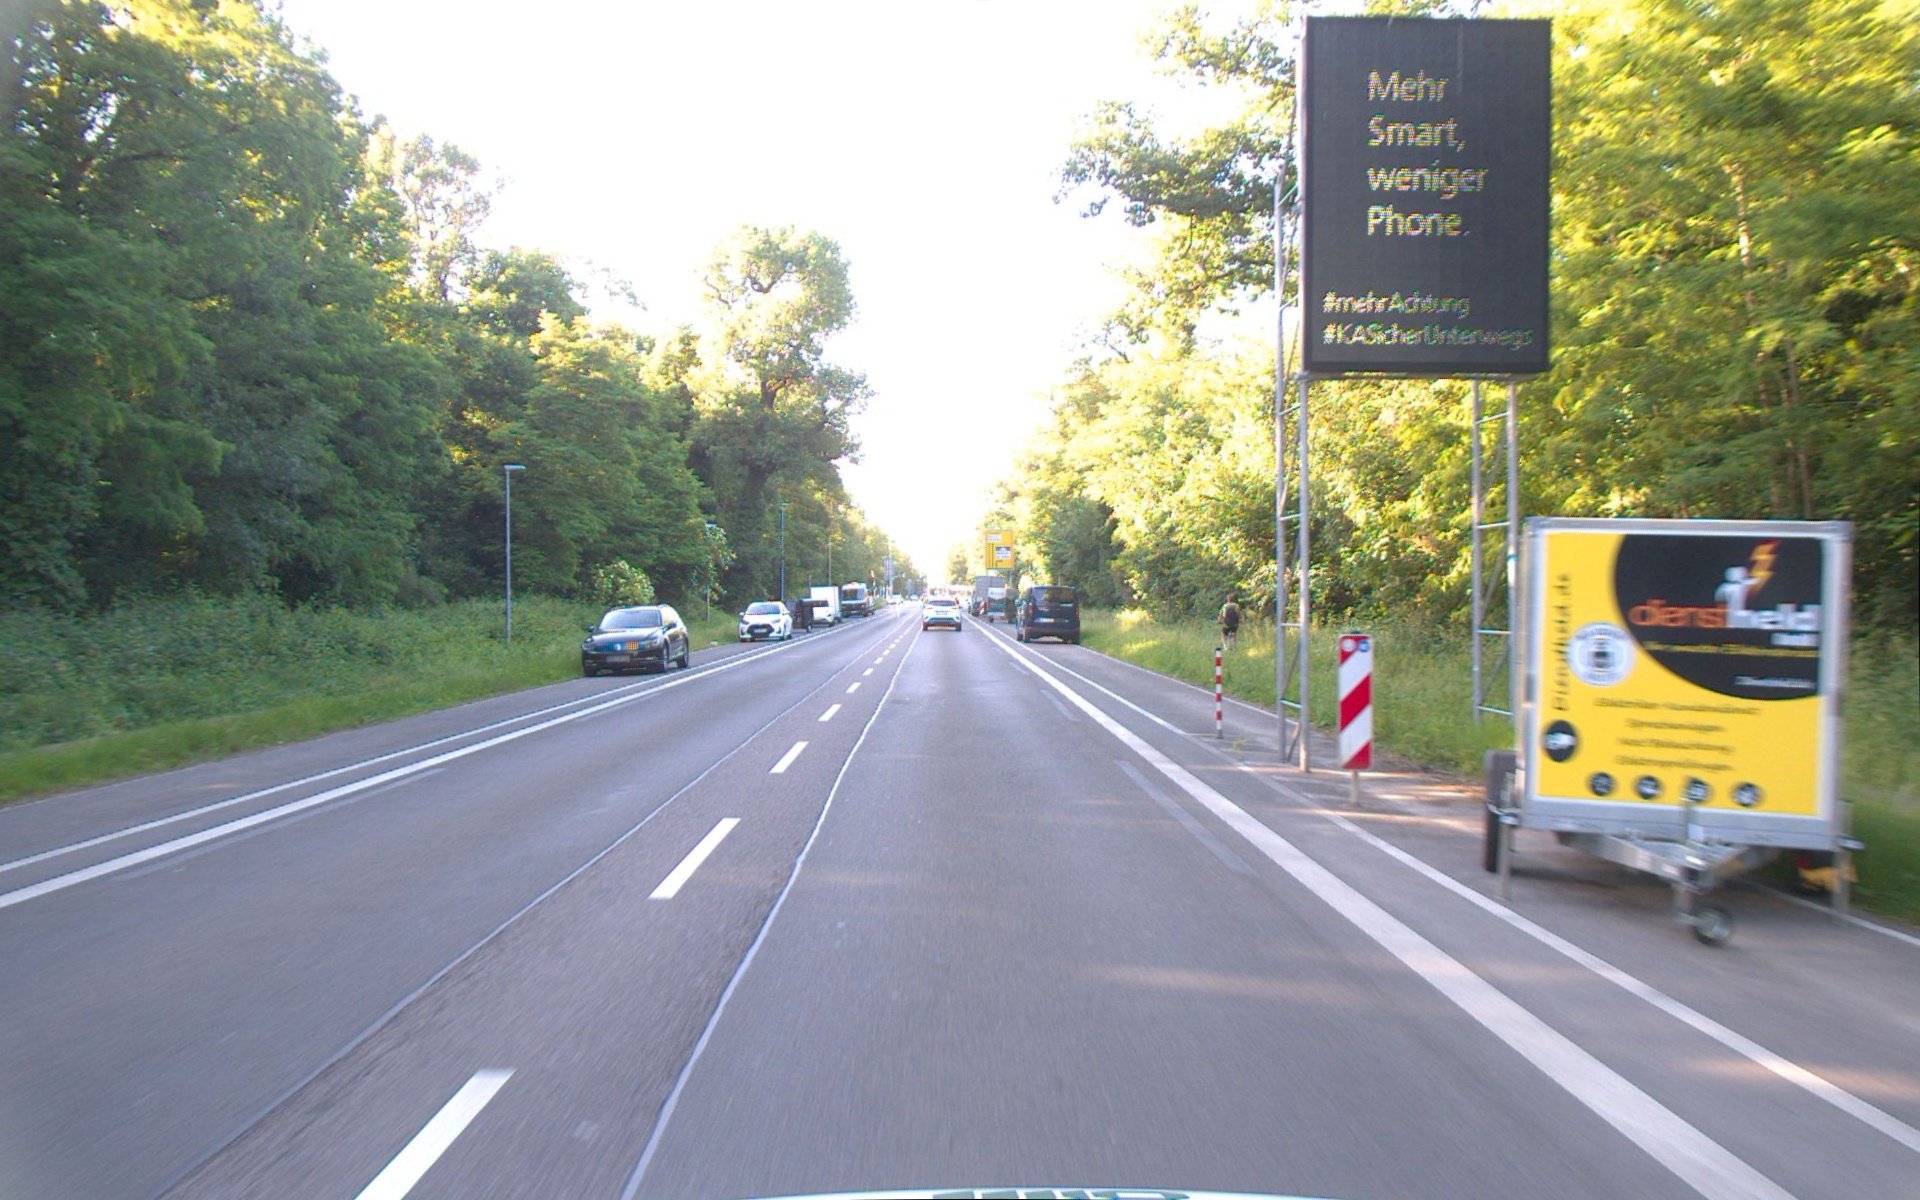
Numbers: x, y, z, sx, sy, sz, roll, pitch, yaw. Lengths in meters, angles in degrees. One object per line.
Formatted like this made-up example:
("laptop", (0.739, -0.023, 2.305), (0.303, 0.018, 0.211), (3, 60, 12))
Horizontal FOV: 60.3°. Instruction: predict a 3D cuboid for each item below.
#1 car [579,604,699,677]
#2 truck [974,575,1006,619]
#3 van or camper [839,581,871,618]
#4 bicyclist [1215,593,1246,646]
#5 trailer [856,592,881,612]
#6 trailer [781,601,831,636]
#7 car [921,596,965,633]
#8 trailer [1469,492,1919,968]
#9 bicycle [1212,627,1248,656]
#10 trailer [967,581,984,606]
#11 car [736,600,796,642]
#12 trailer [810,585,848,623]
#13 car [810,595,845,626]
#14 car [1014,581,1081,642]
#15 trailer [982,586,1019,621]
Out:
("car", (-7.139, 0.852, 37.219), (1.817, 1.490, 4.783), (0, 0, -1))
("truck", (2.400, -0.254, 133.657), (2.454, 3.425, 7.106), (1, 0, 0))
("van or camper", (-8.637, -0.039, 136.471), (2.255, 2.816, 5.556), (-3, 0, -1))
("bicyclist", (7.018, 0.505, 42.968), (0.598, 1.348, 1.175), (0, 0, -1))
("trailer", (-8.256, 0.201, 149.651), (1.439, 1.688, 3.368), (-2, -1, 12))
("trailer", (-7.255, 0.845, 77.984), (1.366, 1.601, 2.675), (0, 0, 19))
("car", (-0.792, 0.639, 76.885), (1.953, 1.668, 3.999), (-1, 0, -1))
("trailer", (3.912, 0.549, 9.266), (1.921, 2.058, 3.845), (0, 0, 19))
("bicycle", (7.012, 1.078, 43.033), (0.579, 0.704, 1.996), (0, 0, -1))
("trailer", (1.470, -0.613, 156.983), (1.469, 2.274, 4.549), (1, 0, 0))
("car", (-7.511, 0.796, 64.306), (1.829, 1.476, 4.070), (-3, 0, -1))
("trailer", (-8.334, 0.222, 105.637), (2.032, 2.333, 3.487), (-1, 0, 1))
("car", (-7.374, 0.547, 92.258), (1.778, 1.599, 4.204), (-3, 0, -3))
("car", (3.108, 0.396, 59.521), (2.070, 2.049, 5.039), (2, 0, 0))
("trailer", (2.548, 0.220, 103.694), (1.580, 2.149, 2.397), (0, 0, 20))
